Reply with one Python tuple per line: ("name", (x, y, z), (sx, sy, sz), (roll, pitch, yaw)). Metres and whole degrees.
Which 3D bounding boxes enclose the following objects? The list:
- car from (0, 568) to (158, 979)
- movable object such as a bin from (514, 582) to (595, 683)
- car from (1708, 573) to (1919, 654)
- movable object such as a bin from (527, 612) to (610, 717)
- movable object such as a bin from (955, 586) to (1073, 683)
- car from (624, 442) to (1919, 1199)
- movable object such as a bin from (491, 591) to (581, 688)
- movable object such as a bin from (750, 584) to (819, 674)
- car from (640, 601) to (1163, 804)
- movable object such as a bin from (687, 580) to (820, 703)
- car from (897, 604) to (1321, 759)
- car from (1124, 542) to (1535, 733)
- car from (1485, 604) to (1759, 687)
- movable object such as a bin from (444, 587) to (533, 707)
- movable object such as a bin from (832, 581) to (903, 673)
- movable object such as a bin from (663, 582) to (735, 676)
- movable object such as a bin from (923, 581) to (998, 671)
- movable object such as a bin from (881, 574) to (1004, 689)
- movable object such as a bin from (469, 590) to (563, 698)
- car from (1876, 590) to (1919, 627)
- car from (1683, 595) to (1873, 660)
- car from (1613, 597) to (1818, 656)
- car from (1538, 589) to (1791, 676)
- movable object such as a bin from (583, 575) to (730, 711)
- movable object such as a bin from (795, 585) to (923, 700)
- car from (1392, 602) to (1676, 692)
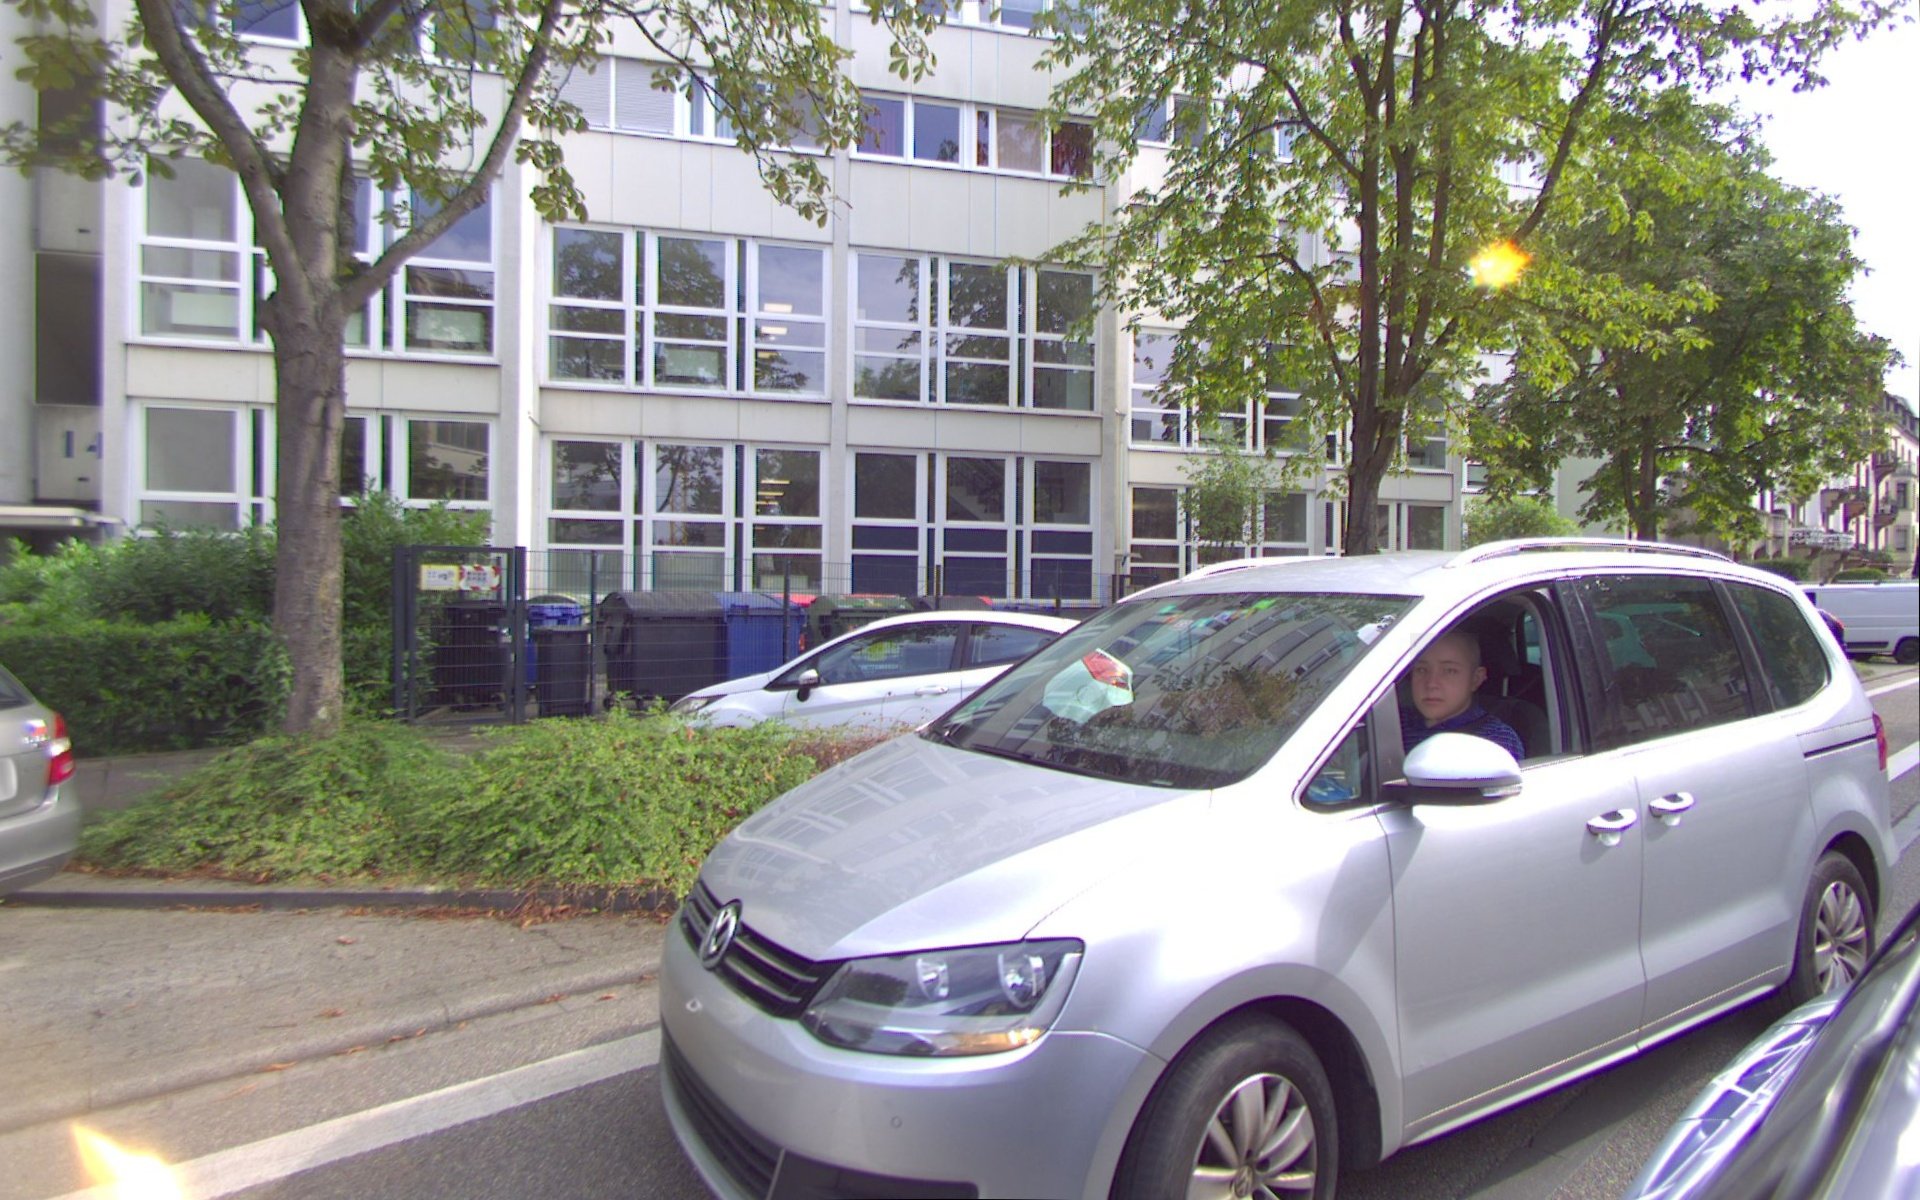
("car", (-5.629, 0.659, 3.907), (3.980, 1.557, 1.593), (0, 0, 5))
("movable object such as a bin", (-6.626, 0.508, 16.613), (1.155, 1.588, 1.177), (0, 0, -19))
("car", (24.941, 0.360, 28.885), (5.349, 2.203, 2.143), (0, 0, 9))
("movable object such as a bin", (-4.461, 0.702, 11.511), (0.729, 1.119, 0.786), (0, 0, -34))
("movable object such as a bin", (0.859, 0.517, 16.266), (1.374, 1.477, 1.335), (0, 0, -36))
("car", (1.360, 0.612, 3.522), (4.525, 1.722, 1.820), (0, 0, -31))
("movable object such as a bin", (-6.360, 0.567, 15.261), (1.155, 1.387, 1.177), (0, 0, -19))
("movable object such as a bin", (-3.104, 0.491, 17.833), (1.150, 1.533, 1.182), (0, 0, -11))
("car", (-0.408, 0.723, 8.108), (3.793, 1.410, 1.632), (0, 0, 4))
("movable object such as a bin", (-2.763, 0.510, 13.515), (1.312, 1.523, 1.335), (0, 0, -36))
("car", (1.413, 0.763, 10.315), (3.902, 1.405, 1.812), (0, -1, 5))
("car", (4.231, 0.393, 12.238), (4.269, 2.090, 1.997), (0, 0, 5))
("car", (11.840, 0.777, 18.351), (3.708, 1.355, 1.810), (0, 1, 9))
("movable object such as a bin", (-5.860, 0.552, 12.632), (0.893, 1.425, 1.026), (0, 0, -19))
("movable object such as a bin", (-1.684, 0.464, 18.221), (1.150, 1.588, 1.182), (0, 0, -11))
("movable object such as a bin", (-4.538, 0.487, 17.698), (1.150, 1.588, 1.182), (0, 0, -11))
("movable object such as a bin", (-0.013, 0.450, 18.515), (1.150, 1.588, 1.182), (0, 0, -11))
("movable object such as a bin", (-0.273, 0.439, 15.236), (1.328, 1.616, 1.335), (0, 0, -36))
("movable object such as a bin", (-6.089, 0.573, 13.948), (1.095, 1.409, 1.065), (0, 0, -19))
("car", (45.843, 0.383, 47.672), (3.606, 1.697, 1.753), (0, 1, 25))
("car", (21.732, 0.677, 27.070), (3.606, 1.609, 1.753), (0, 1, 25))
("car", (18.375, 0.621, 24.754), (3.580, 1.347, 1.765), (0, 1, 5))
("car", (13.968, 0.604, 20.277), (3.708, 1.638, 1.810), (0, 0, 9))
("movable object such as a bin", (-3.759, 0.487, 12.494), (1.389, 1.549, 1.330), (0, 0, -36))
("movable object such as a bin", (-1.451, 0.564, 14.387), (1.328, 1.521, 1.335), (0, 0, -36))
("car", (9.193, 0.719, 16.463), (3.580, 1.347, 1.765), (0, 1, 5))
